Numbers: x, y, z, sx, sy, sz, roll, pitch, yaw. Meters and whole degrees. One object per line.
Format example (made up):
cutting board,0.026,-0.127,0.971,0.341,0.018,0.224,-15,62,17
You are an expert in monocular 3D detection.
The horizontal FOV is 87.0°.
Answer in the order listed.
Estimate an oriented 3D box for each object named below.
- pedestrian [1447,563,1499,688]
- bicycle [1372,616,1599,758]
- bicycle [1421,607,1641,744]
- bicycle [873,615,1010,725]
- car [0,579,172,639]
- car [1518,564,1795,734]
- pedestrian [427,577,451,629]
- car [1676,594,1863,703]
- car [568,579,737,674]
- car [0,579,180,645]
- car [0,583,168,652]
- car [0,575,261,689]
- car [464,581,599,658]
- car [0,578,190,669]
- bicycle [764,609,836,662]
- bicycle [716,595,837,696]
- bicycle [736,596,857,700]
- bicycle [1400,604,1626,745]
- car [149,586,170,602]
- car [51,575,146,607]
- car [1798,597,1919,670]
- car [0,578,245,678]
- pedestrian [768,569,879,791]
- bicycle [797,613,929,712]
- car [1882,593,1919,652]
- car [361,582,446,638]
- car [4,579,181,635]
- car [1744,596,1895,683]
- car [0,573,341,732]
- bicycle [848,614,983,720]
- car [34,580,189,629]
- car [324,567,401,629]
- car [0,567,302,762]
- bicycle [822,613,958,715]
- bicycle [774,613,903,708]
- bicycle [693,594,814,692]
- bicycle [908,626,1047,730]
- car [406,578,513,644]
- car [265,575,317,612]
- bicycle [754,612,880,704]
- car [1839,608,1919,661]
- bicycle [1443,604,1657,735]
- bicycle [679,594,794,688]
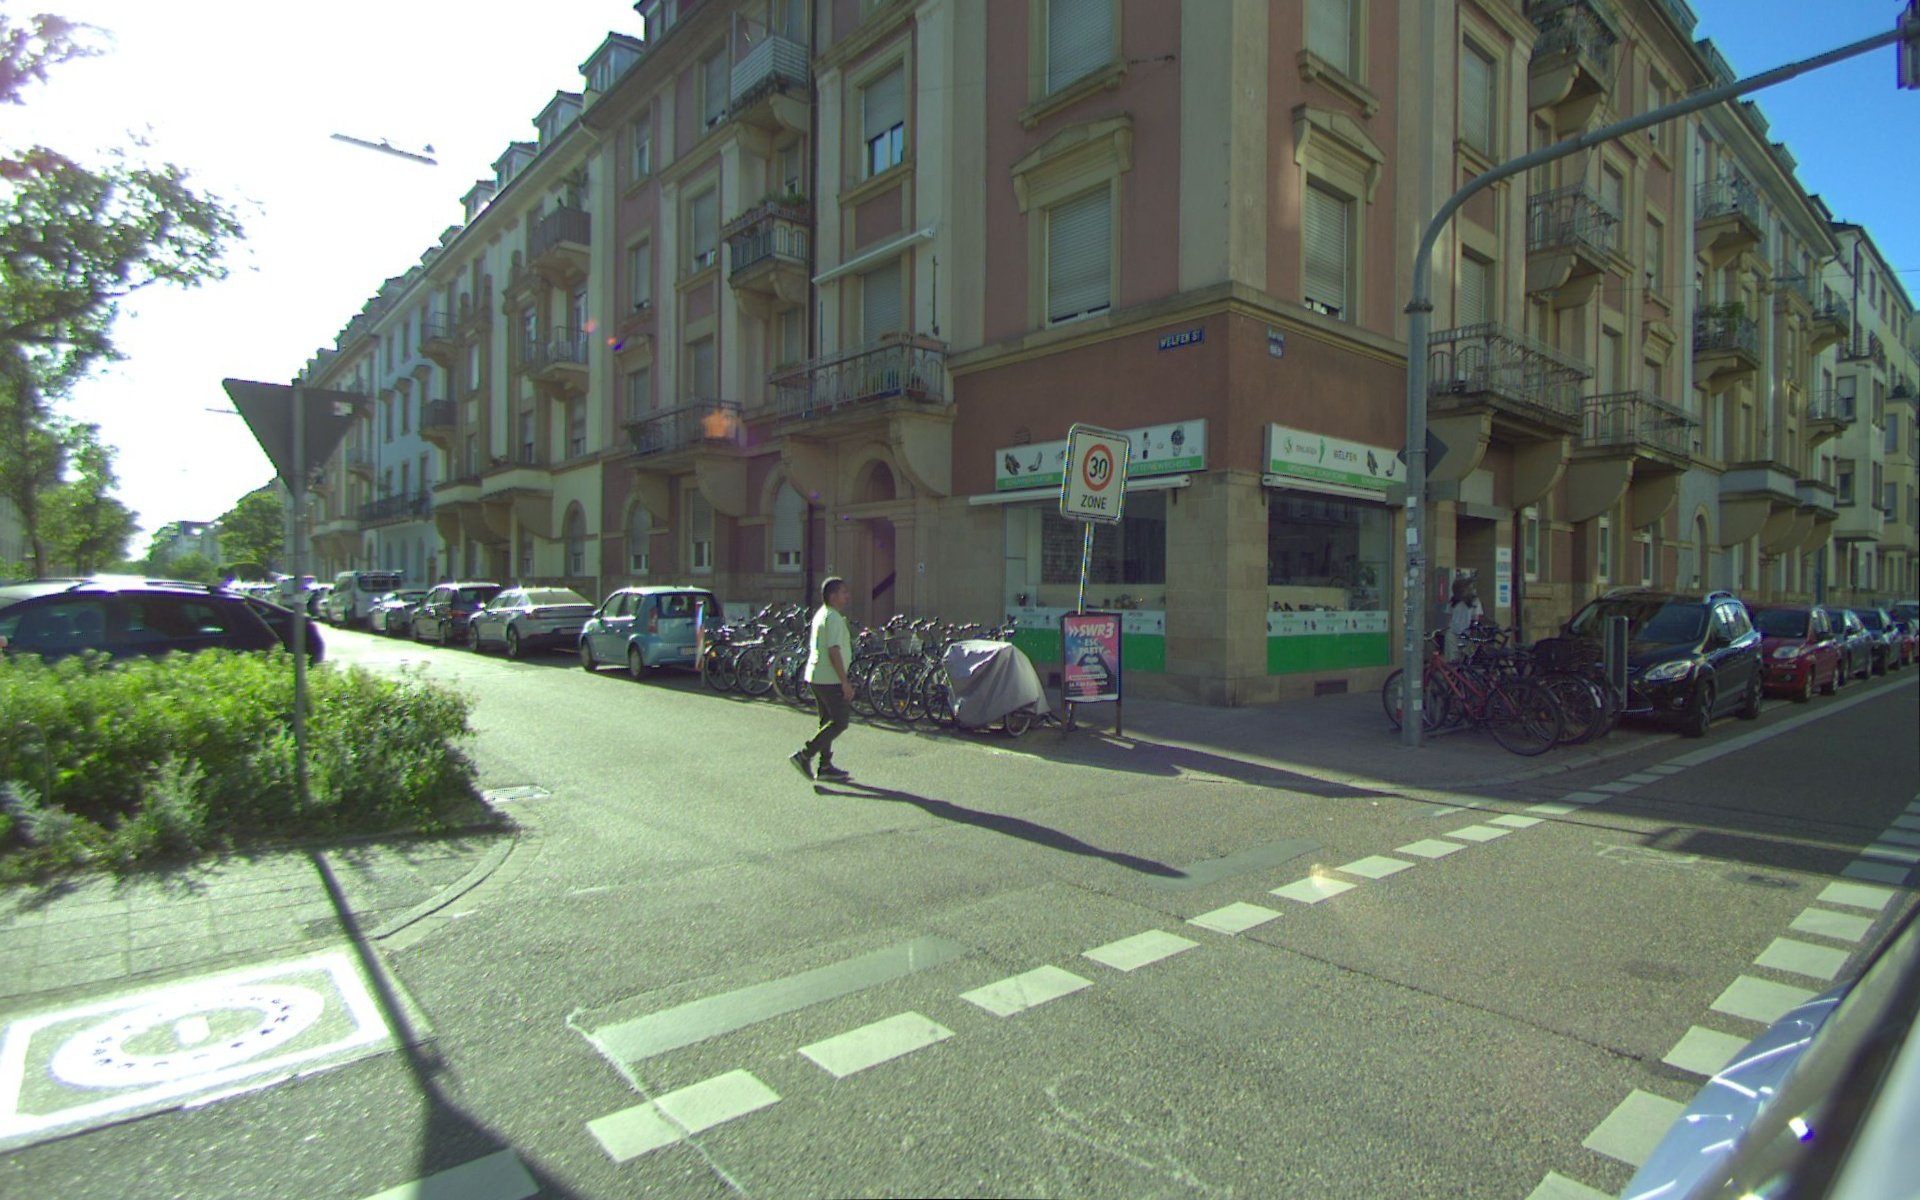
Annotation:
pedestrian,7.164,0.347,14.135,0.440,1.708,0.514,0,0,-41
bicycle,5.149,0.800,10.039,0.518,1.175,1.928,0,2,-40
bicycle,6.007,0.742,10.761,0.518,1.242,1.964,0,2,-40
bicycle,-0.193,0.774,11.800,1.698,1.169,0.468,0,0,-41
car,-25.635,0.229,29.455,1.750,1.624,3.951,1,1,34
car,9.029,0.492,12.973,4.427,1.756,1.757,0,4,-40
pedestrian,-18.506,0.098,35.932,0.598,1.820,0.730,0,0,-41
car,13.660,0.716,17.015,3.663,1.614,1.757,0,1,-40
car,-5.544,0.396,18.035,1.612,1.515,3.498,0,1,-41
car,-23.373,0.275,26.837,1.750,1.624,3.951,1,1,34
car,-21.885,0.385,24.506,1.750,1.561,3.951,1,1,34
car,-14.093,0.448,16.249,1.828,1.661,4.404,1,1,30
car,-9.739,0.368,22.839,1.666,1.571,4.064,0,1,-41
car,-17.863,0.416,19.941,1.750,1.661,3.951,1,1,34
bicycle,-2.959,0.637,18.612,0.481,0.890,1.726,0,1,-40
bicycle,-2.658,0.631,14.780,1.698,1.399,0.544,0,0,-41
bicycle,-2.294,0.641,14.348,1.698,1.399,0.491,0,0,-41
bicycle,5.604,0.702,10.384,0.518,1.242,1.964,0,2,-40
car,-96.652,-0.742,122.186,1.782,1.849,3.994,0,1,-41
car,-51.311,-0.545,60.330,1.746,1.870,3.960,0,0,28
car,20.959,0.702,23.533,4.397,1.502,1.657,0,1,-42
car,-15.807,0.447,18.654,1.750,1.661,3.951,1,1,34
pedestrian,-1.106,0.604,8.097,0.688,1.654,0.733,-2,-1,-20
bicycle,-1.227,0.761,13.028,1.698,1.169,0.544,0,0,-41
car,29.439,0.640,30.569,4.425,1.712,1.846,0,1,-41
car,-17.628,0.265,31.983,1.590,1.652,3.994,0,1,-41
car,-27.323,0.187,31.998,1.750,1.624,3.951,1,1,34
car,17.310,0.705,20.314,4.396,1.532,1.657,0,1,-41
car,-10.016,0.526,12.282,1.746,1.661,3.960,1,1,29
bicycle,-0.508,0.772,12.186,1.698,1.169,0.468,0,0,-41
car,-30.193,0.126,36.124,1.750,1.624,3.951,1,1,34
car,-22.163,-0.105,37.474,1.782,2.146,3.994,0,1,-41
car,-8.424,0.516,9.085,1.622,1.599,4.048,1,1,22
bicycle,-0.849,0.758,12.598,1.698,1.169,0.544,0,0,-41
bicycle,-1.592,0.772,13.466,1.698,1.169,0.544,0,0,-41
bicycle,-3.086,0.610,15.217,1.698,1.399,0.628,0,0,-41
bicycle,0.222,0.845,11.486,1.698,1.062,0.468,0,0,-41
car,-13.636,0.255,27.491,1.666,1.652,3.994,0,1,-41
car,-34.965,-0.337,52.868,1.782,1.849,3.994,0,1,-41
bicycle,-1.949,0.759,13.927,1.698,1.169,0.544,0,0,-41
car,25.177,0.879,27.136,4.423,1.264,1.658,0,1,-38
bicycle,6.427,0.703,11.134,0.518,1.242,1.964,0,2,-40
bicycle,-3.471,0.605,15.795,1.698,1.399,0.544,0,0,-41
